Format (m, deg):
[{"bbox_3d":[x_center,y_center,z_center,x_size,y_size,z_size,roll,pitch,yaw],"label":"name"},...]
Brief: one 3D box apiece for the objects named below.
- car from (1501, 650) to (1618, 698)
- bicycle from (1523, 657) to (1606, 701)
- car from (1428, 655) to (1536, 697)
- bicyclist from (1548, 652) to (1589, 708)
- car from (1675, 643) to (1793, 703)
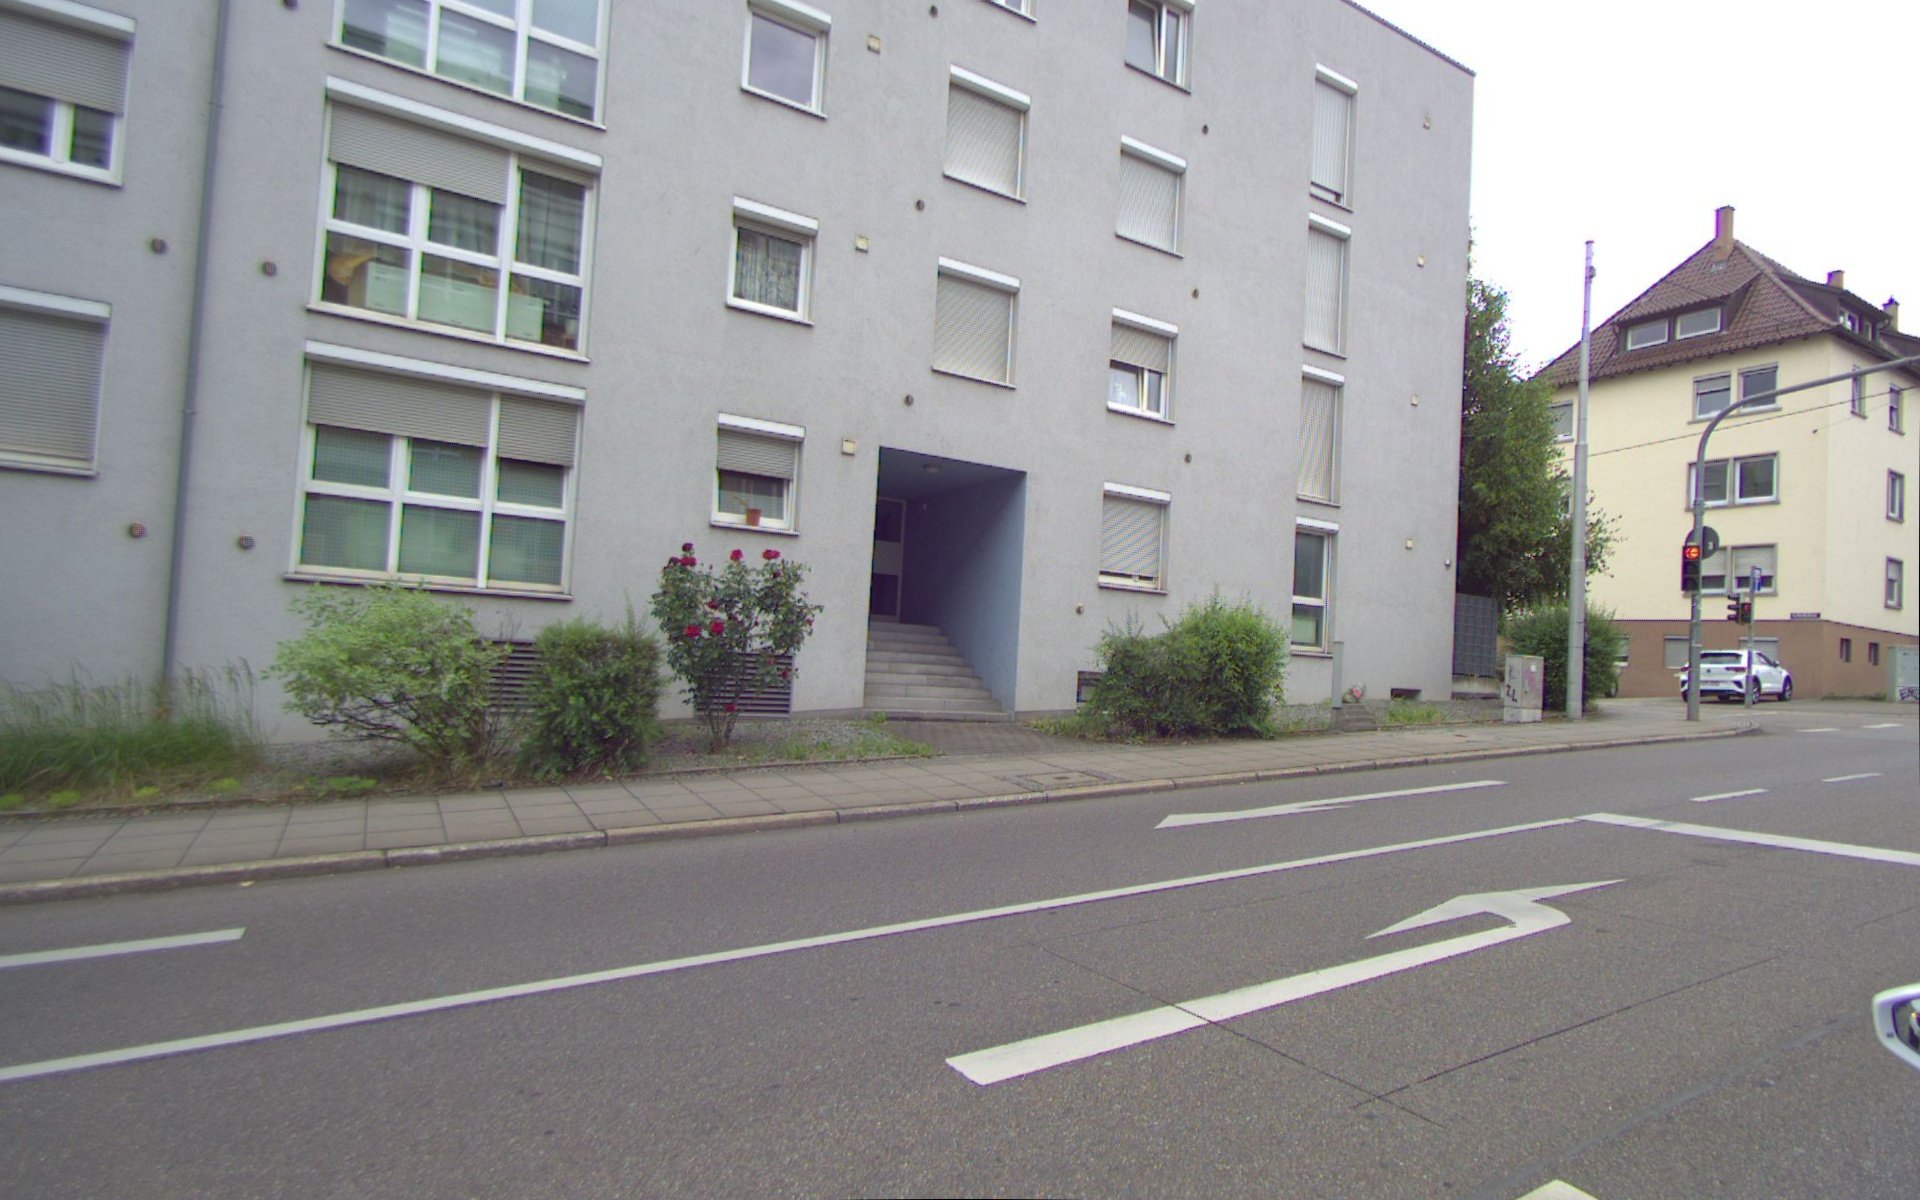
[{"bbox_3d":[20.558,2.509,34.399,4.053,1.566,1.662,2,-4,-30],"label":"car"},{"bbox_3d":[17.316,2.251,28.805,0.697,1.095,1.889,2,0,-41],"label":"bicycle"},{"bbox_3d":[19.069,2.750,36.689,3.953,1.380,1.662,2,-1,-30],"label":"car"},{"bbox_3d":[17.395,2.266,28.713,0.701,1.539,0.802,2,0,-41],"label":"bicyclist"},{"bbox_3d":[23.301,2.166,30.195,3.960,1.683,1.660,2,-4,-35],"label":"car"}]
